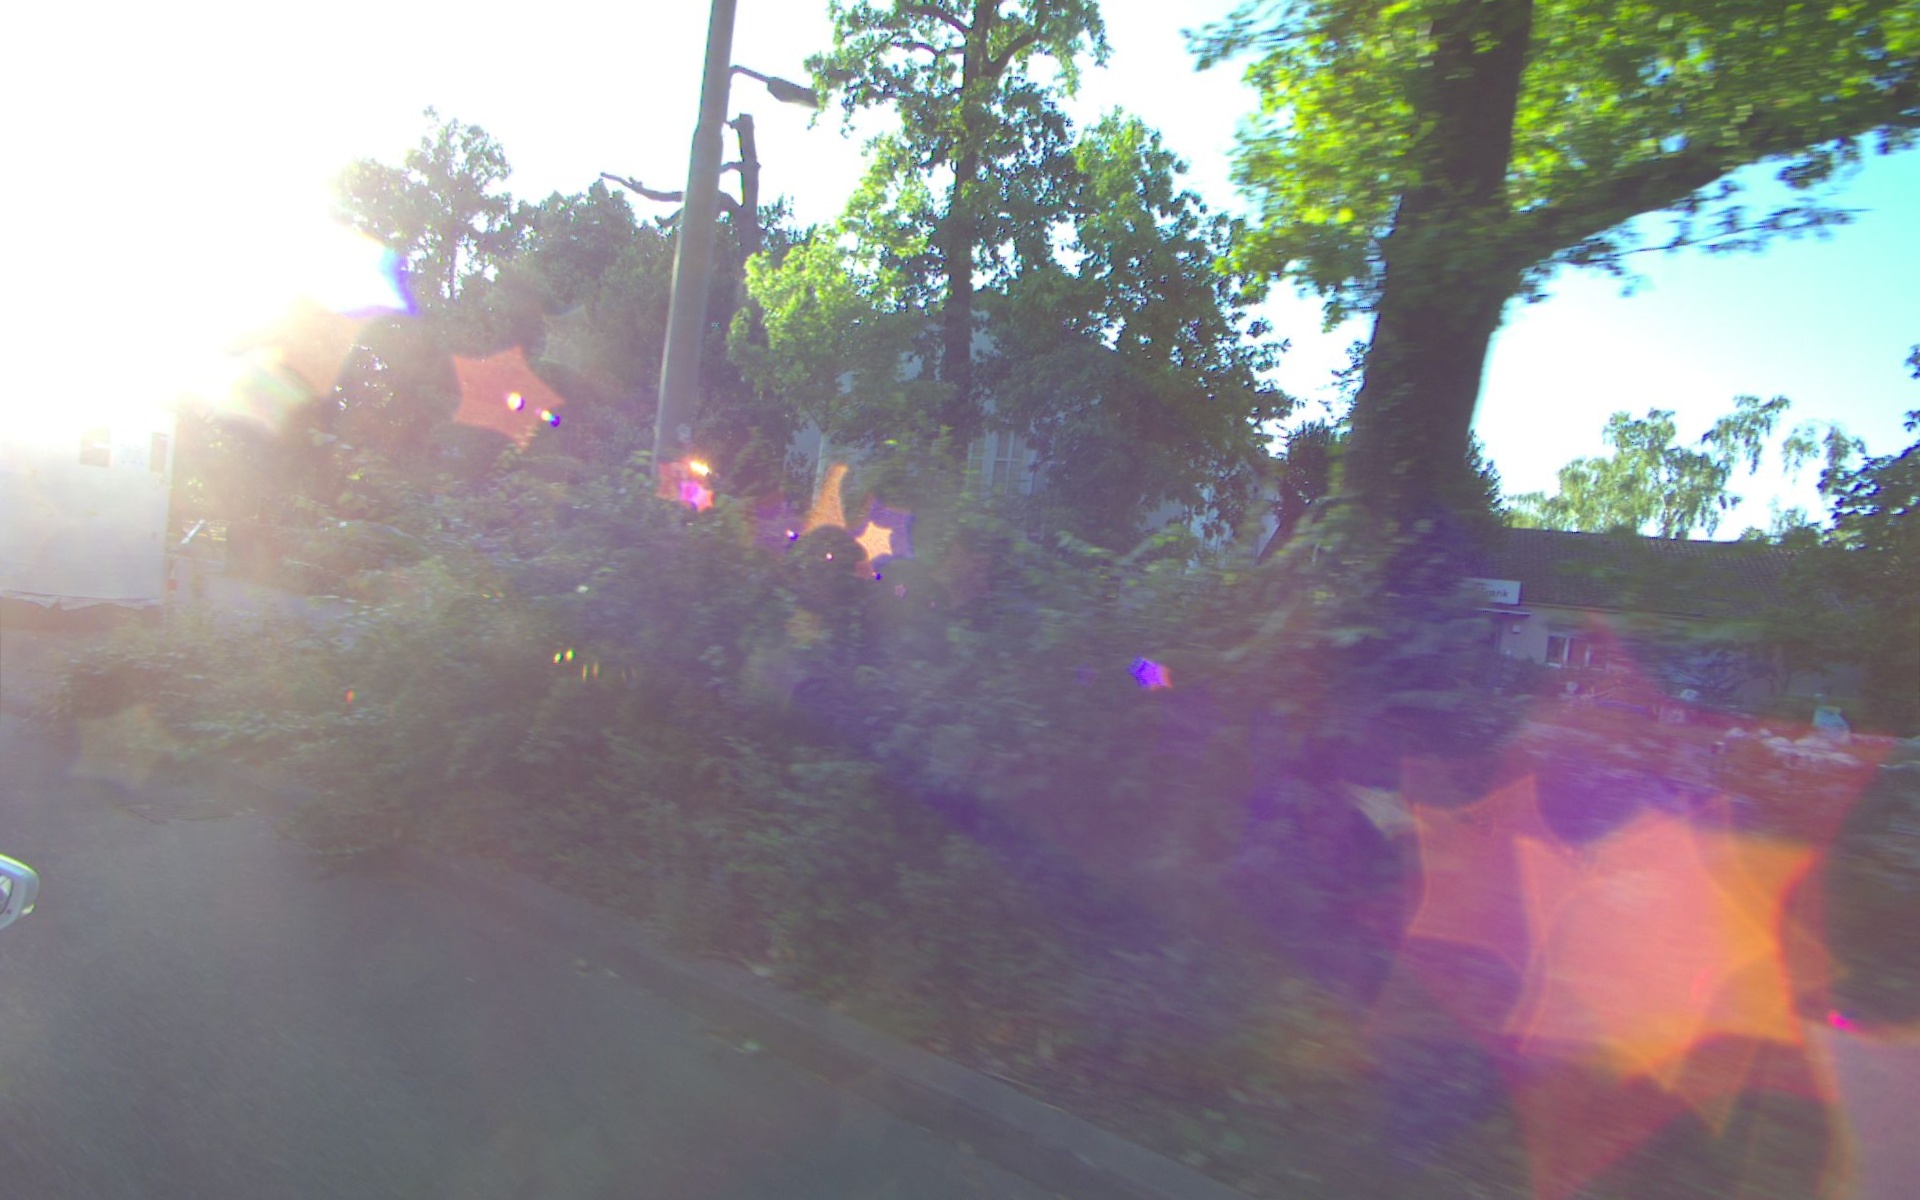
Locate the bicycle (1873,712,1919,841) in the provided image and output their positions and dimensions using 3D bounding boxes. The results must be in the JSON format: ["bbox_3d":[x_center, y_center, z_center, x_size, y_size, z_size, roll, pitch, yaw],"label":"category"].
[{"bbox_3d":[9.884,1.813,9.363,0.737,1.236,2.451,6,0,10],"label":"bicycle"}]

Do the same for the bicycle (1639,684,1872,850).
[{"bbox_3d":[7.855,1.575,10.119,0.737,1.236,2.451,7,0,13],"label":"bicycle"}]

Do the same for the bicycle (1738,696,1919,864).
[{"bbox_3d":[8.619,1.672,9.660,0.737,1.236,2.451,7,0,13],"label":"bicycle"}]

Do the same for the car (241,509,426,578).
[{"bbox_3d":[-18.057,-1.584,29.209,1.803,1.460,4.148,7,0,26],"label":"car"}]
